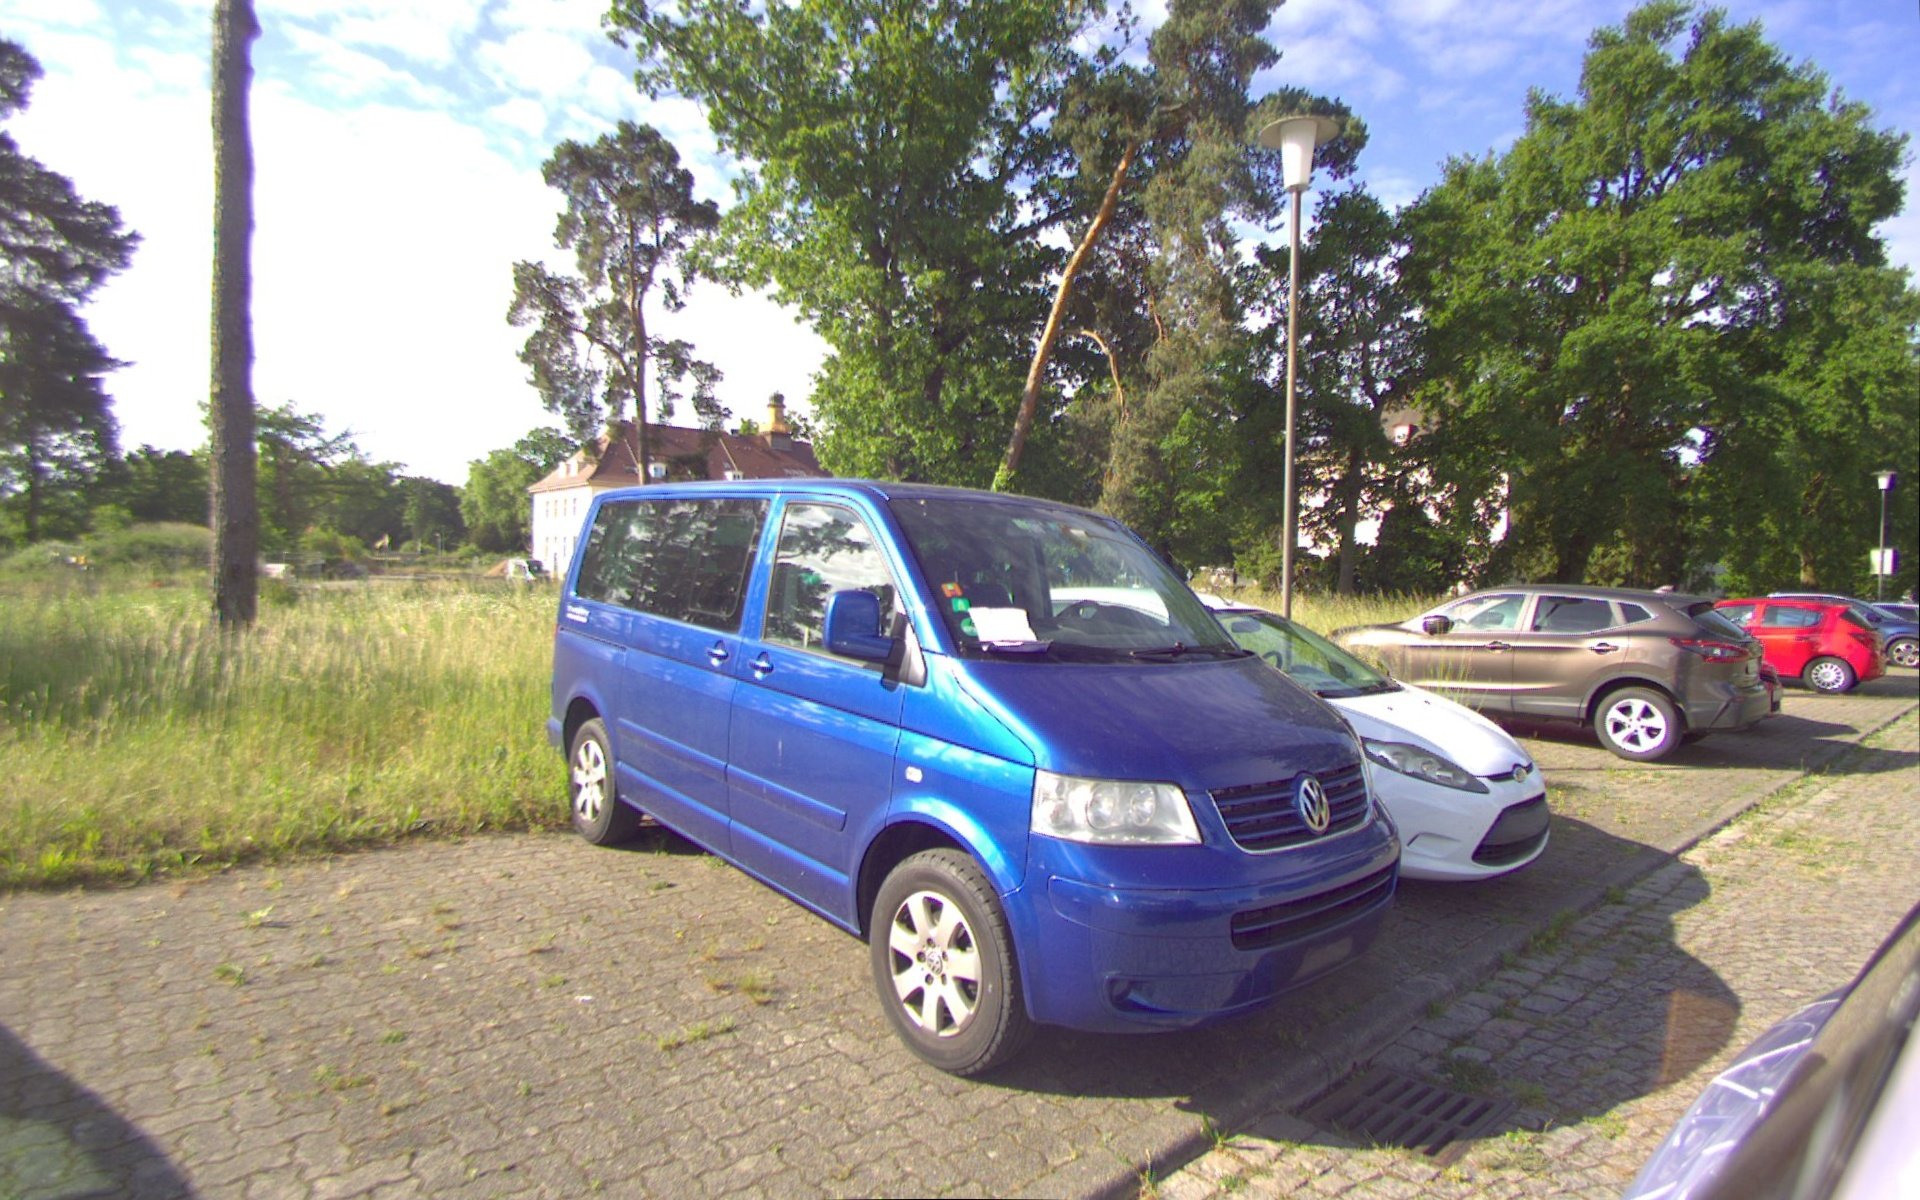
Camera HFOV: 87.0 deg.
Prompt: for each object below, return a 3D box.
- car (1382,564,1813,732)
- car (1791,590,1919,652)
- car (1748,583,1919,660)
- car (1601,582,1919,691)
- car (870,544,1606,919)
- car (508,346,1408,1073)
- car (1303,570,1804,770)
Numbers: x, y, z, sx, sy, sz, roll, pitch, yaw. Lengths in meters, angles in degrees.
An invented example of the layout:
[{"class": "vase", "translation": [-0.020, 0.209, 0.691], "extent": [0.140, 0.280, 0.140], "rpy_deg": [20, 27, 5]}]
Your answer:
[{"class": "car", "translation": [7.865, 0.434, 12.799], "extent": [1.902, 1.617, 4.232], "rpy_deg": [-1, 4, -43]}, {"class": "car", "translation": [24.966, 0.576, 26.967], "extent": [1.754, 1.440, 4.095], "rpy_deg": [1, 3, -42]}, {"class": "car", "translation": [21.459, 0.491, 23.990], "extent": [1.821, 1.576, 4.095], "rpy_deg": [1, 3, -42]}, {"class": "car", "translation": [13.754, 0.530, 17.543], "extent": [1.821, 1.477, 4.095], "rpy_deg": [1, 3, -42]}, {"class": "car", "translation": [1.472, 0.491, 6.769], "extent": [1.905, 1.596, 4.407], "rpy_deg": [0, 3, -41]}, {"class": "car", "translation": [-0.530, 0.170, 5.155], "extent": [1.965, 1.959, 4.709], "rpy_deg": [0, 3, -41]}, {"class": "car", "translation": [6.093, 0.540, 10.777], "extent": [1.902, 1.617, 4.231], "rpy_deg": [-1, 3, -43]}]
